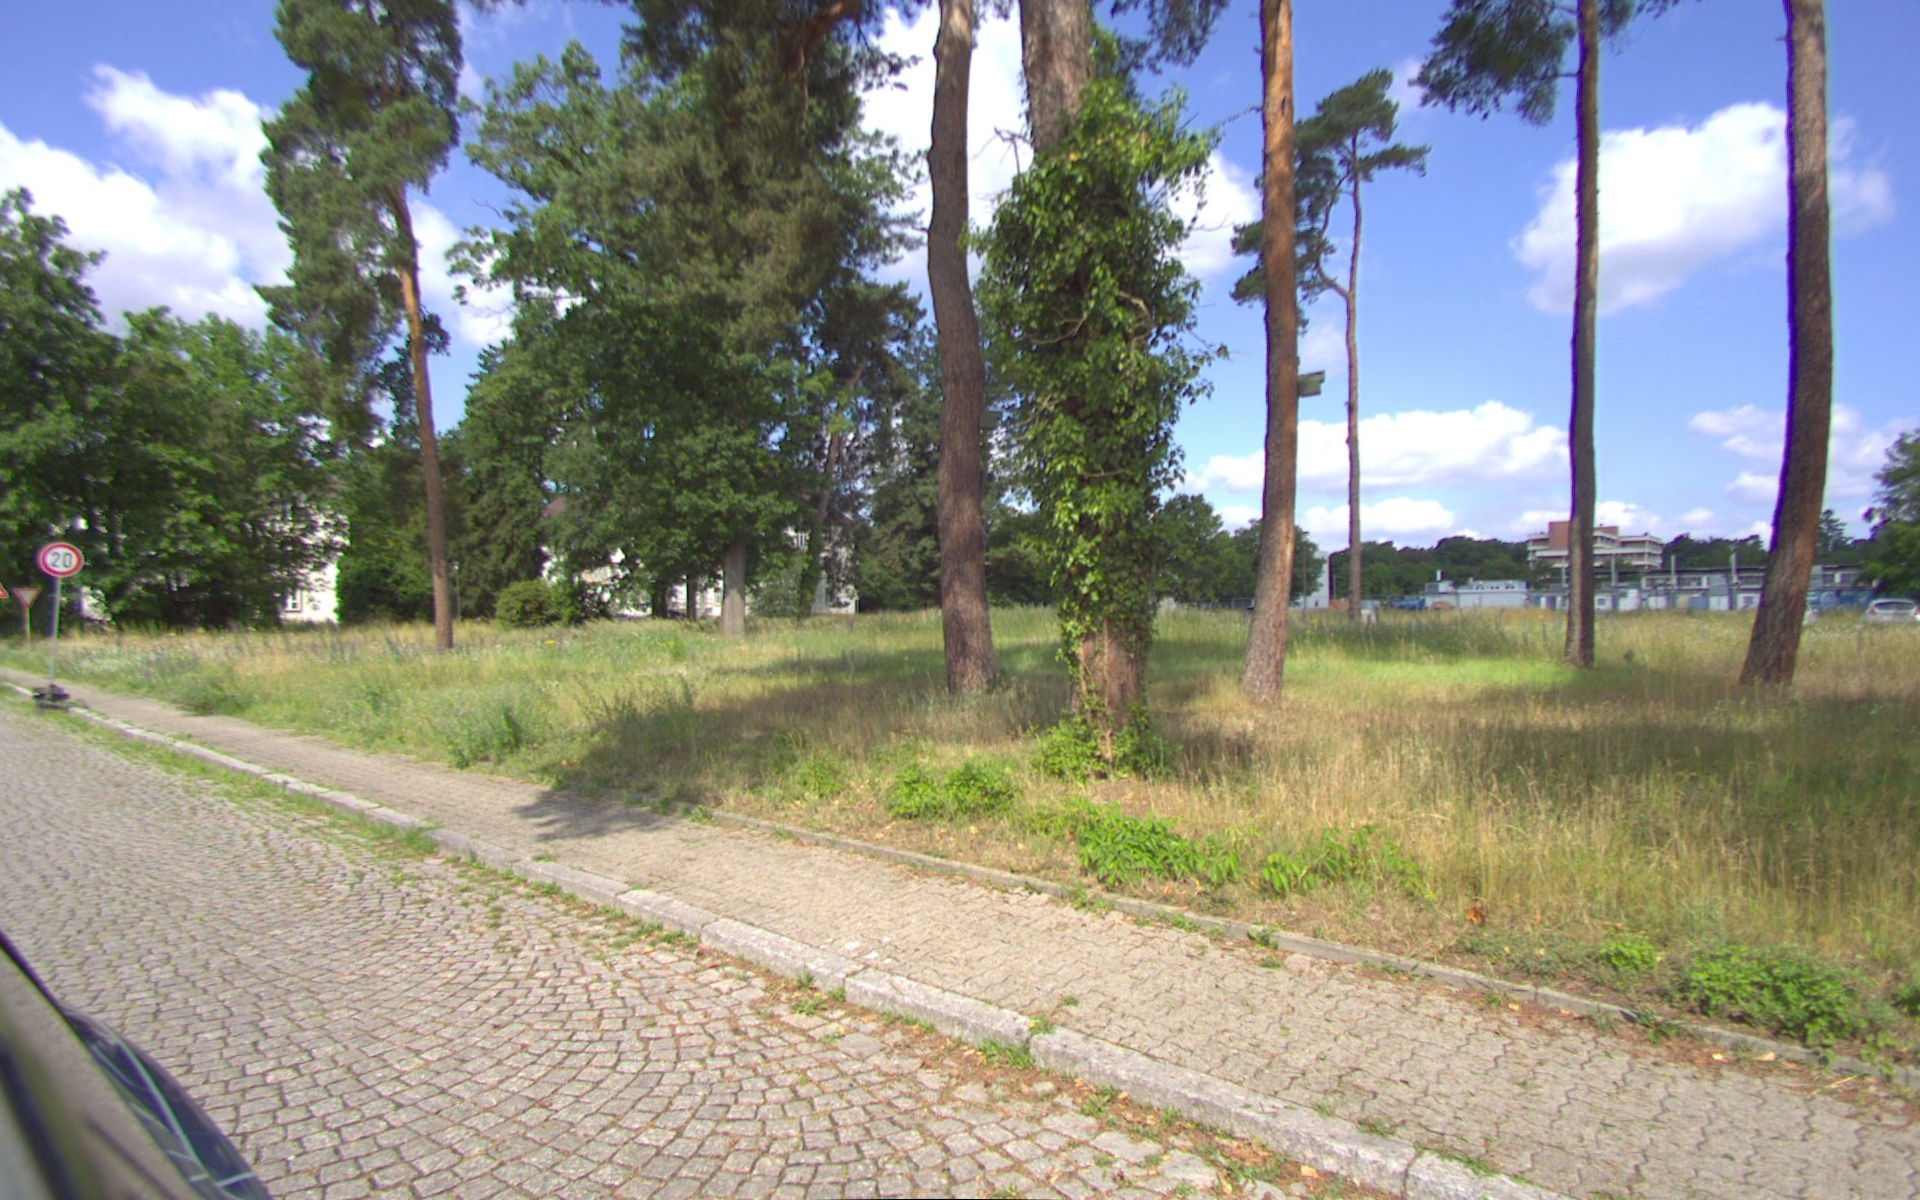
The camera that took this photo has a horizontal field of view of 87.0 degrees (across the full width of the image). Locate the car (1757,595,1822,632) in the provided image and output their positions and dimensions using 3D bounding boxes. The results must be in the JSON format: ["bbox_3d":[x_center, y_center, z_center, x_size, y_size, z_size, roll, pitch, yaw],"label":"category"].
[{"bbox_3d":[32.644,0.540,39.811,1.899,1.359,4.016,-1,-1,40],"label":"car"}]

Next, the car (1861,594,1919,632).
[{"bbox_3d":[35.198,0.485,37.987,1.899,1.349,4.024,-1,-1,40],"label":"car"}]
